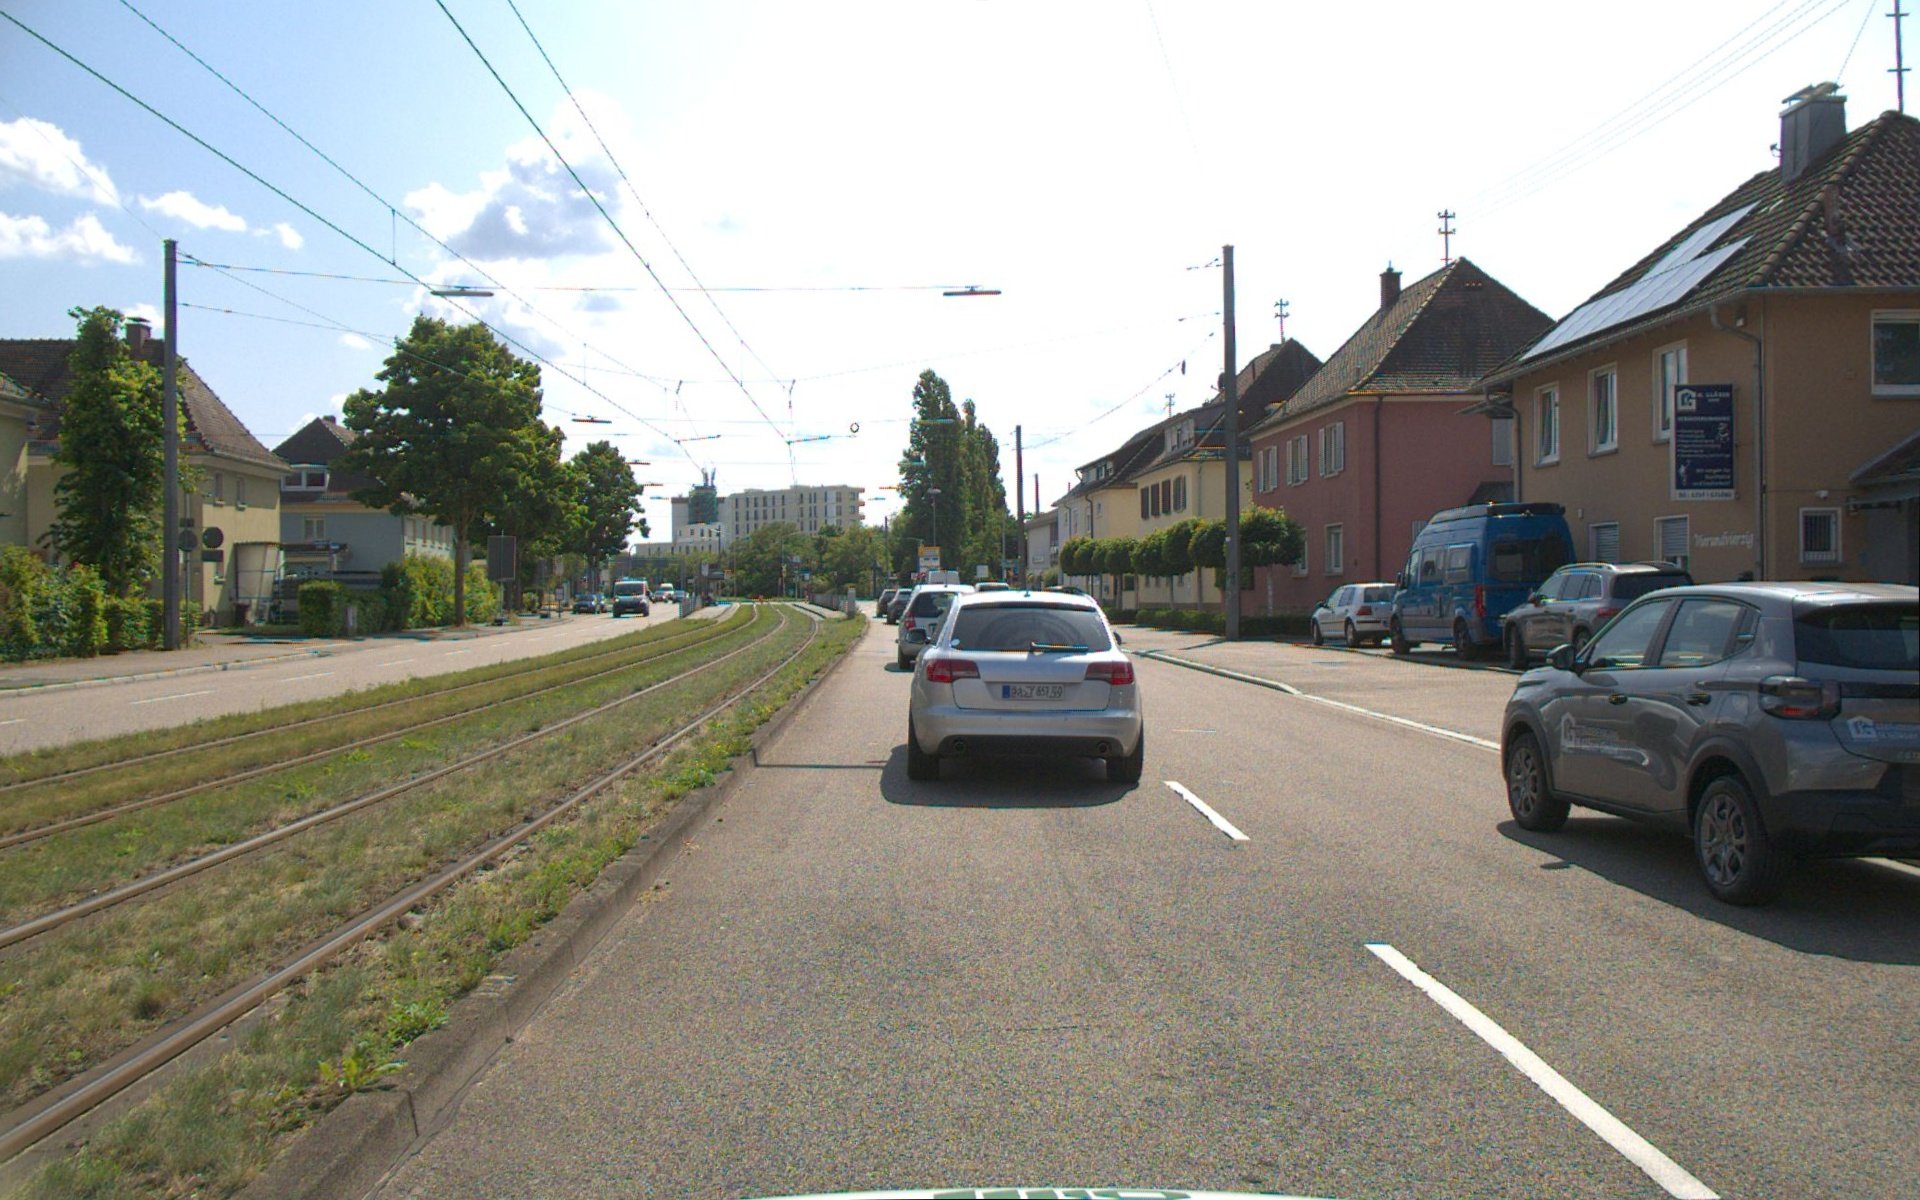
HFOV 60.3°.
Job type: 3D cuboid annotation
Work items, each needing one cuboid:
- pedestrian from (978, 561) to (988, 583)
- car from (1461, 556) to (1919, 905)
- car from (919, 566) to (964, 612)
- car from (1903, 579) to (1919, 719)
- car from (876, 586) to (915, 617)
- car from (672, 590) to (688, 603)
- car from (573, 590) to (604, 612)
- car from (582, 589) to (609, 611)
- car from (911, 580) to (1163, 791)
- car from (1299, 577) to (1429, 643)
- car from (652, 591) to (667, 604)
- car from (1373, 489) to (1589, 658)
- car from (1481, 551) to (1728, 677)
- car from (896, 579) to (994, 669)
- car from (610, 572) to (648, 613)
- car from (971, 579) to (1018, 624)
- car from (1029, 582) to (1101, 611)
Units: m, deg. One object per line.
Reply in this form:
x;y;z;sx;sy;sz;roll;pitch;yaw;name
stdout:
1.992;-2.441;144.780;0.707;1.813;0.702;-3;0;-5;pedestrian
4.576;0.608;9.715;1.771;1.587;4.251;1;0;-3;car
-1.109;-0.637;95.326;2.002;2.602;5.222;0;0;-7;car
11.432;0.481;16.078;3.577;1.404;1.725;0;0;-4;car
-3.322;0.089;85.613;1.846;1.557;4.093;1;0;-1;car
-33.992;-0.439;200.491;1.862;1.568;3.719;1;0;-11;car
-27.630;0.069;123.017;1.751;1.612;3.926;0;0;-5;car
-28.481;0.018;129.184;2.024;1.642;4.738;-1;0;-13;car
0.570;0.605;14.241;1.816;1.518;4.536;0;0;0;car
9.545;0.225;39.416;1.617;1.434;4.345;-1;0;-6;car
-38.816;-0.313;213.881;1.829;1.680;3.989;1;0;-11;car
10.052;-0.460;32.536;2.108;2.981;6.242;1;0;-2;car
10.069;0.168;26.286;1.800;1.741;4.862;-2;1;-3;car
-0.326;0.427;32.277;1.751;1.604;4.093;2;0;-1;car
-20.390;-0.455;102.102;2.157;2.413;5.319;-2;0;-10;car
1.456;0.046;68.834;1.846;1.761;4.096;-1;0;2;car
5.863;-0.221;91.972;1.882;1.483;4.068;1;3;42;car
